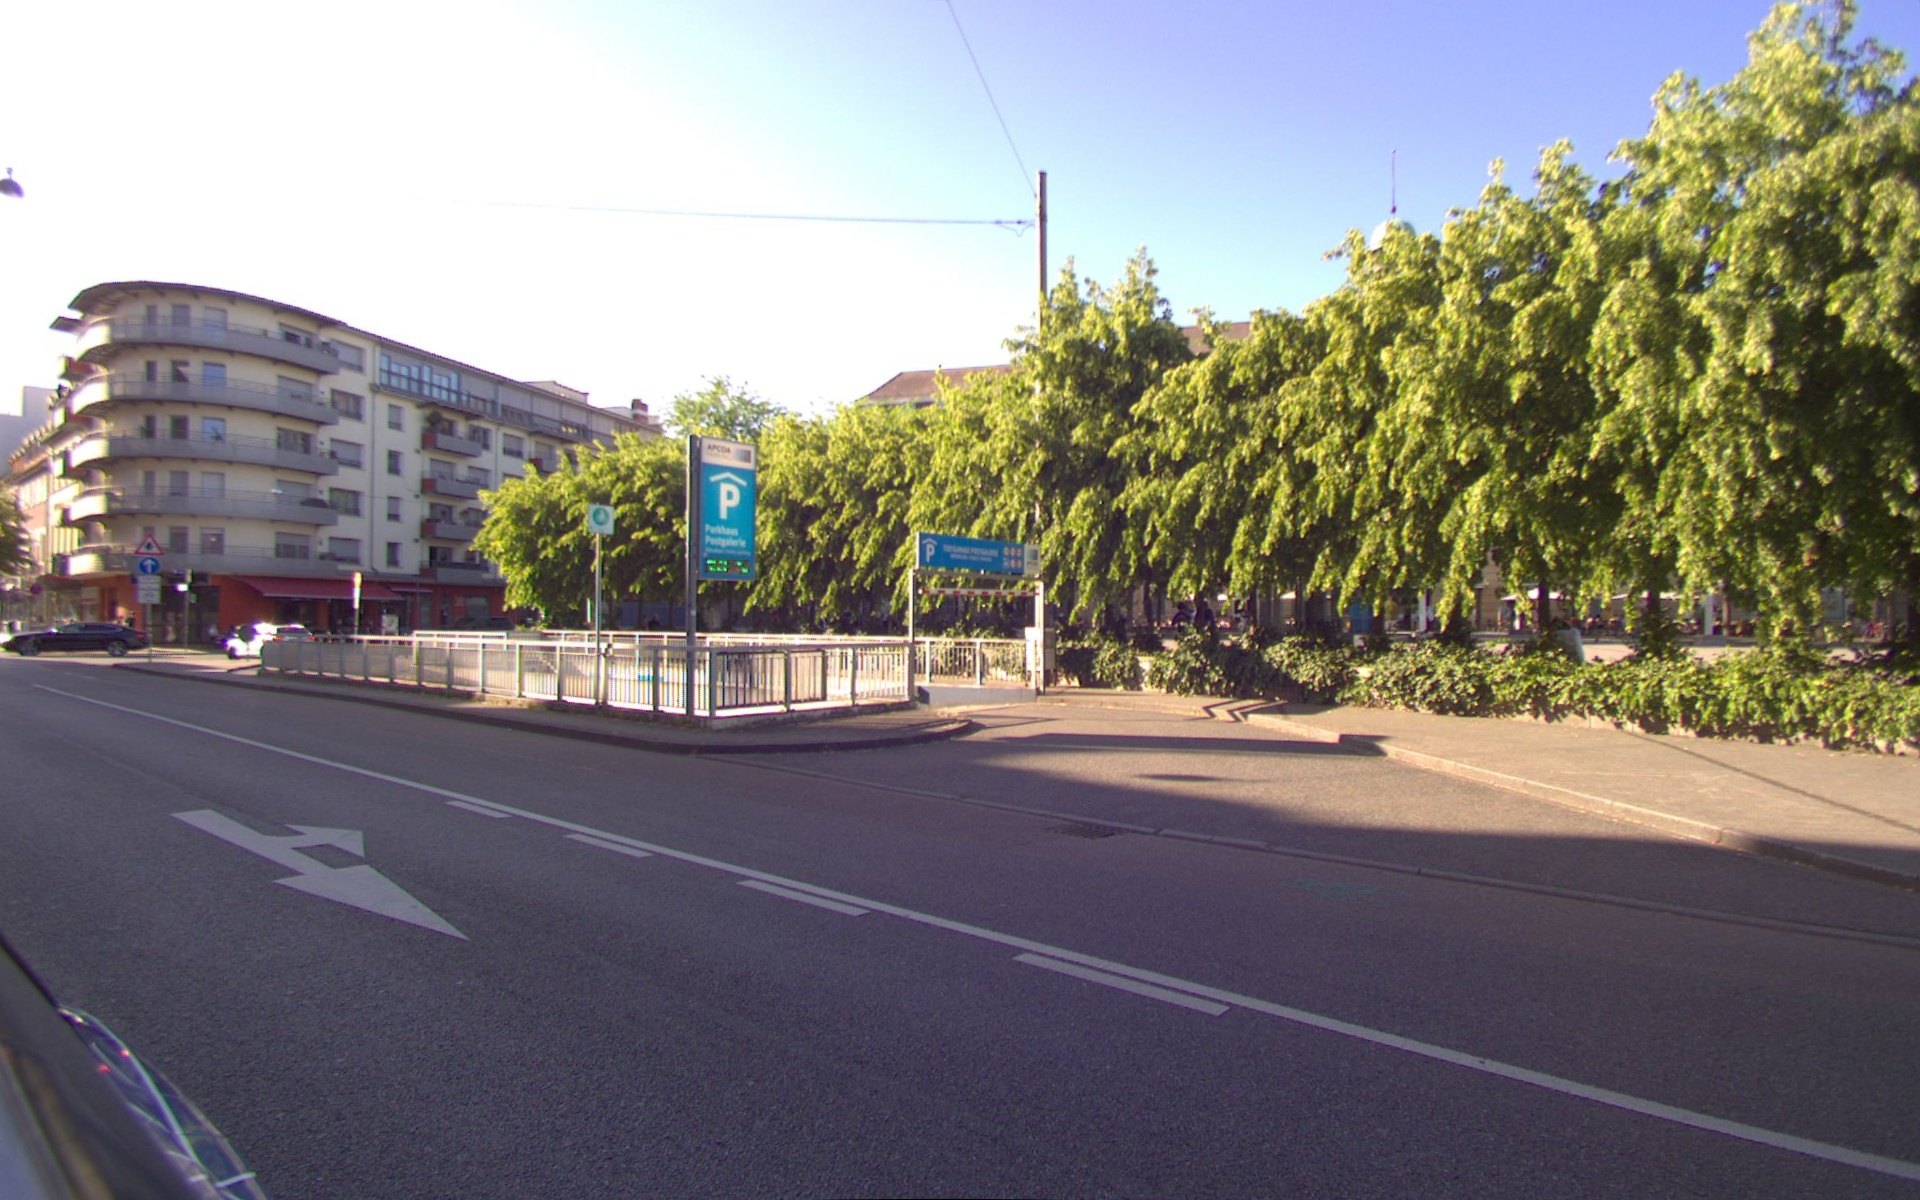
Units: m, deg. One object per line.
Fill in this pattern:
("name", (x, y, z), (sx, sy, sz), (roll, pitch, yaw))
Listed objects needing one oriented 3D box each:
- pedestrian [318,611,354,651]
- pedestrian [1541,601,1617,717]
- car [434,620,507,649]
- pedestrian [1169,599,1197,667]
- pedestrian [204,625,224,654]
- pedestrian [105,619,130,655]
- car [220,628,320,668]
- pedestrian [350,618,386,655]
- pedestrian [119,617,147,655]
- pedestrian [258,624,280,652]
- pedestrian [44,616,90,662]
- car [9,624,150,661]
("pedestrian", (-31.966, 1.567, 51.856), (1.297, 2.029, 1.299), (0, -1, -17))
("pedestrian", (9.777, 0.908, 15.979), (0.885, 1.771, 0.738), (0, -1, -39))
("car", (-30.518, 2.124, 63.205), (1.983, 1.763, 3.977), (-1, -1, 17))
("pedestrian", (5.657, 0.834, 25.652), (0.672, 1.683, 0.843), (-1, -1, 13))
("pedestrian", (-37.730, 1.983, 51.203), (0.780, 1.472, 0.583), (0, -1, -40))
("pedestrian", (-40.400, 1.759, 48.513), (0.688, 1.719, 0.676), (0, -1, -12))
("car", (-27.171, 1.857, 39.814), (4.238, 1.445, 1.783), (-1, -1, 33))
("pedestrian", (-32.540, 1.991, 55.612), (1.251, 2.029, 1.226), (-1, -1, 19))
("pedestrian", (-40.176, 1.733, 49.160), (0.746, 1.819, 0.755), (-1, -1, -1))
("pedestrian", (-36.727, 2.020, 53.773), (0.782, 1.473, 0.582), (0, -1, 3))
("pedestrian", (-40.747, 1.754, 46.196), (1.008, 2.029, 1.198), (-1, 0, 4))
("car", (-35.893, 1.706, 41.438), (4.220, 1.394, 2.004), (0, -1, -38))
